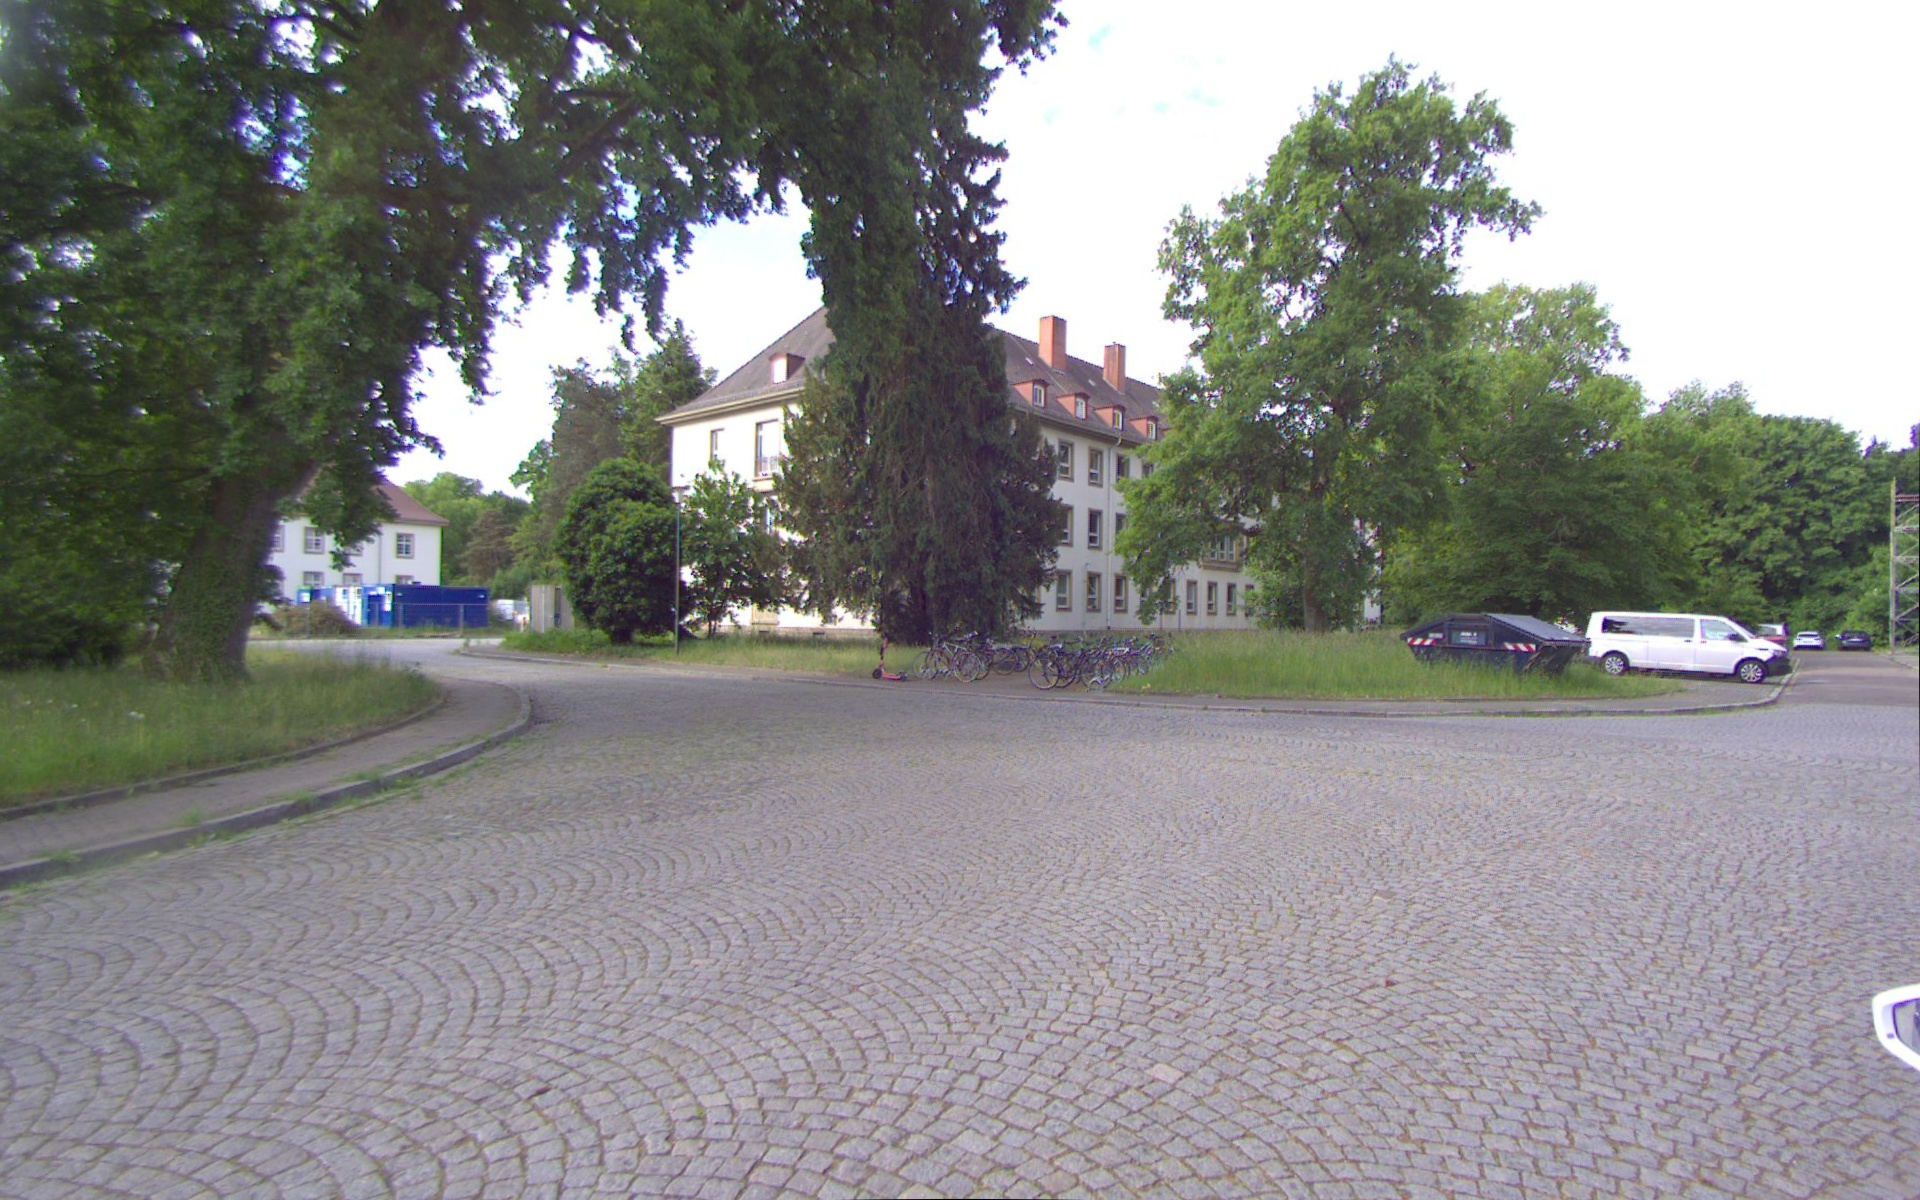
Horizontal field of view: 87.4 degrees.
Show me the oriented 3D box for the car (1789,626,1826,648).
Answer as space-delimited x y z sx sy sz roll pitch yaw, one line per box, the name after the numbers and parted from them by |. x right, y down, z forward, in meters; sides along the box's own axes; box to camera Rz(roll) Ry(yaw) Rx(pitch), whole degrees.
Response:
66.807 2.946 79.242 1.976 1.568 3.942 4 0 38 | car

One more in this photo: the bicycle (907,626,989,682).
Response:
-0.296 1.276 24.237 1.865 1.239 0.643 1 2 23 | bicycle

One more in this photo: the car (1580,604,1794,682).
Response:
22.339 1.264 30.990 5.140 2.087 2.178 2 -1 41 | car

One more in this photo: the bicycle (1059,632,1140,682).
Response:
3.303 1.326 23.731 1.764 1.118 0.702 -1 1 23 | bicycle

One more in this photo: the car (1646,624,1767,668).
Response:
30.401 1.858 40.977 1.807 1.500 3.596 3 0 -40 | car

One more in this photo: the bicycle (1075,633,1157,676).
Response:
3.904 1.350 25.140 1.922 1.018 0.686 -1 1 23 | bicycle

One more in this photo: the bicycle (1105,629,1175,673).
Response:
4.794 1.341 26.764 1.742 1.120 0.541 -1 1 23 | bicycle

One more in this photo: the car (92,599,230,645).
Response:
-43.280 1.226 54.508 2.095 2.236 5.505 4 0 41 | car

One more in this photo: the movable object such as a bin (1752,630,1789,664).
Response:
36.154 2.081 44.814 1.170 1.426 0.970 4 1 42 | movable object such as a bin

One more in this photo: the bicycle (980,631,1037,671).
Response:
1.344 1.403 27.670 1.485 1.050 0.545 0 1 12 | bicycle

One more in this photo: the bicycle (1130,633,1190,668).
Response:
5.614 1.413 28.211 1.590 0.923 0.526 -1 1 23 | bicycle

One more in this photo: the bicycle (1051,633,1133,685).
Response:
3.031 1.339 23.072 1.739 1.118 0.702 -1 1 23 | bicycle

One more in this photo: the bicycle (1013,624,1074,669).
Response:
2.338 1.300 28.139 1.611 1.201 0.574 1 1 16 | bicycle

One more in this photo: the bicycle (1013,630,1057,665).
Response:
2.226 1.410 29.956 1.239 1.042 0.434 -1 -3 23 | bicycle

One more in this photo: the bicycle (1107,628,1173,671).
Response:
4.896 1.334 27.315 1.669 1.131 0.541 -1 1 23 | bicycle

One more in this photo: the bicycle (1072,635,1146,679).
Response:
3.614 1.366 24.371 1.664 1.015 0.632 -1 1 23 | bicycle

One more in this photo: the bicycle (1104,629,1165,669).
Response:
4.847 1.361 27.944 1.590 1.073 0.526 -1 1 23 | bicycle

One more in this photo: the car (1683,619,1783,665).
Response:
39.917 2.129 51.956 3.936 2.040 1.914 4 1 38 | car

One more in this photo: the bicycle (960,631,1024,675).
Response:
0.850 1.367 26.291 1.597 1.088 0.540 0 1 12 | bicycle

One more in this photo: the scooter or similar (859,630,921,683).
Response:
-1.717 1.349 24.405 0.678 1.211 1.532 0 -1 -45 | scooter or similar

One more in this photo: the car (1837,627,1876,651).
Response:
69.304 3.022 77.610 2.041 1.614 3.977 4 0 44 | car

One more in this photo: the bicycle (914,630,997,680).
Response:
-0.116 1.340 24.898 1.953 1.129 0.643 1 1 23 | bicycle

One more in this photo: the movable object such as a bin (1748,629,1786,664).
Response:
35.349 2.040 43.994 1.170 1.426 0.970 4 1 42 | movable object such as a bin
